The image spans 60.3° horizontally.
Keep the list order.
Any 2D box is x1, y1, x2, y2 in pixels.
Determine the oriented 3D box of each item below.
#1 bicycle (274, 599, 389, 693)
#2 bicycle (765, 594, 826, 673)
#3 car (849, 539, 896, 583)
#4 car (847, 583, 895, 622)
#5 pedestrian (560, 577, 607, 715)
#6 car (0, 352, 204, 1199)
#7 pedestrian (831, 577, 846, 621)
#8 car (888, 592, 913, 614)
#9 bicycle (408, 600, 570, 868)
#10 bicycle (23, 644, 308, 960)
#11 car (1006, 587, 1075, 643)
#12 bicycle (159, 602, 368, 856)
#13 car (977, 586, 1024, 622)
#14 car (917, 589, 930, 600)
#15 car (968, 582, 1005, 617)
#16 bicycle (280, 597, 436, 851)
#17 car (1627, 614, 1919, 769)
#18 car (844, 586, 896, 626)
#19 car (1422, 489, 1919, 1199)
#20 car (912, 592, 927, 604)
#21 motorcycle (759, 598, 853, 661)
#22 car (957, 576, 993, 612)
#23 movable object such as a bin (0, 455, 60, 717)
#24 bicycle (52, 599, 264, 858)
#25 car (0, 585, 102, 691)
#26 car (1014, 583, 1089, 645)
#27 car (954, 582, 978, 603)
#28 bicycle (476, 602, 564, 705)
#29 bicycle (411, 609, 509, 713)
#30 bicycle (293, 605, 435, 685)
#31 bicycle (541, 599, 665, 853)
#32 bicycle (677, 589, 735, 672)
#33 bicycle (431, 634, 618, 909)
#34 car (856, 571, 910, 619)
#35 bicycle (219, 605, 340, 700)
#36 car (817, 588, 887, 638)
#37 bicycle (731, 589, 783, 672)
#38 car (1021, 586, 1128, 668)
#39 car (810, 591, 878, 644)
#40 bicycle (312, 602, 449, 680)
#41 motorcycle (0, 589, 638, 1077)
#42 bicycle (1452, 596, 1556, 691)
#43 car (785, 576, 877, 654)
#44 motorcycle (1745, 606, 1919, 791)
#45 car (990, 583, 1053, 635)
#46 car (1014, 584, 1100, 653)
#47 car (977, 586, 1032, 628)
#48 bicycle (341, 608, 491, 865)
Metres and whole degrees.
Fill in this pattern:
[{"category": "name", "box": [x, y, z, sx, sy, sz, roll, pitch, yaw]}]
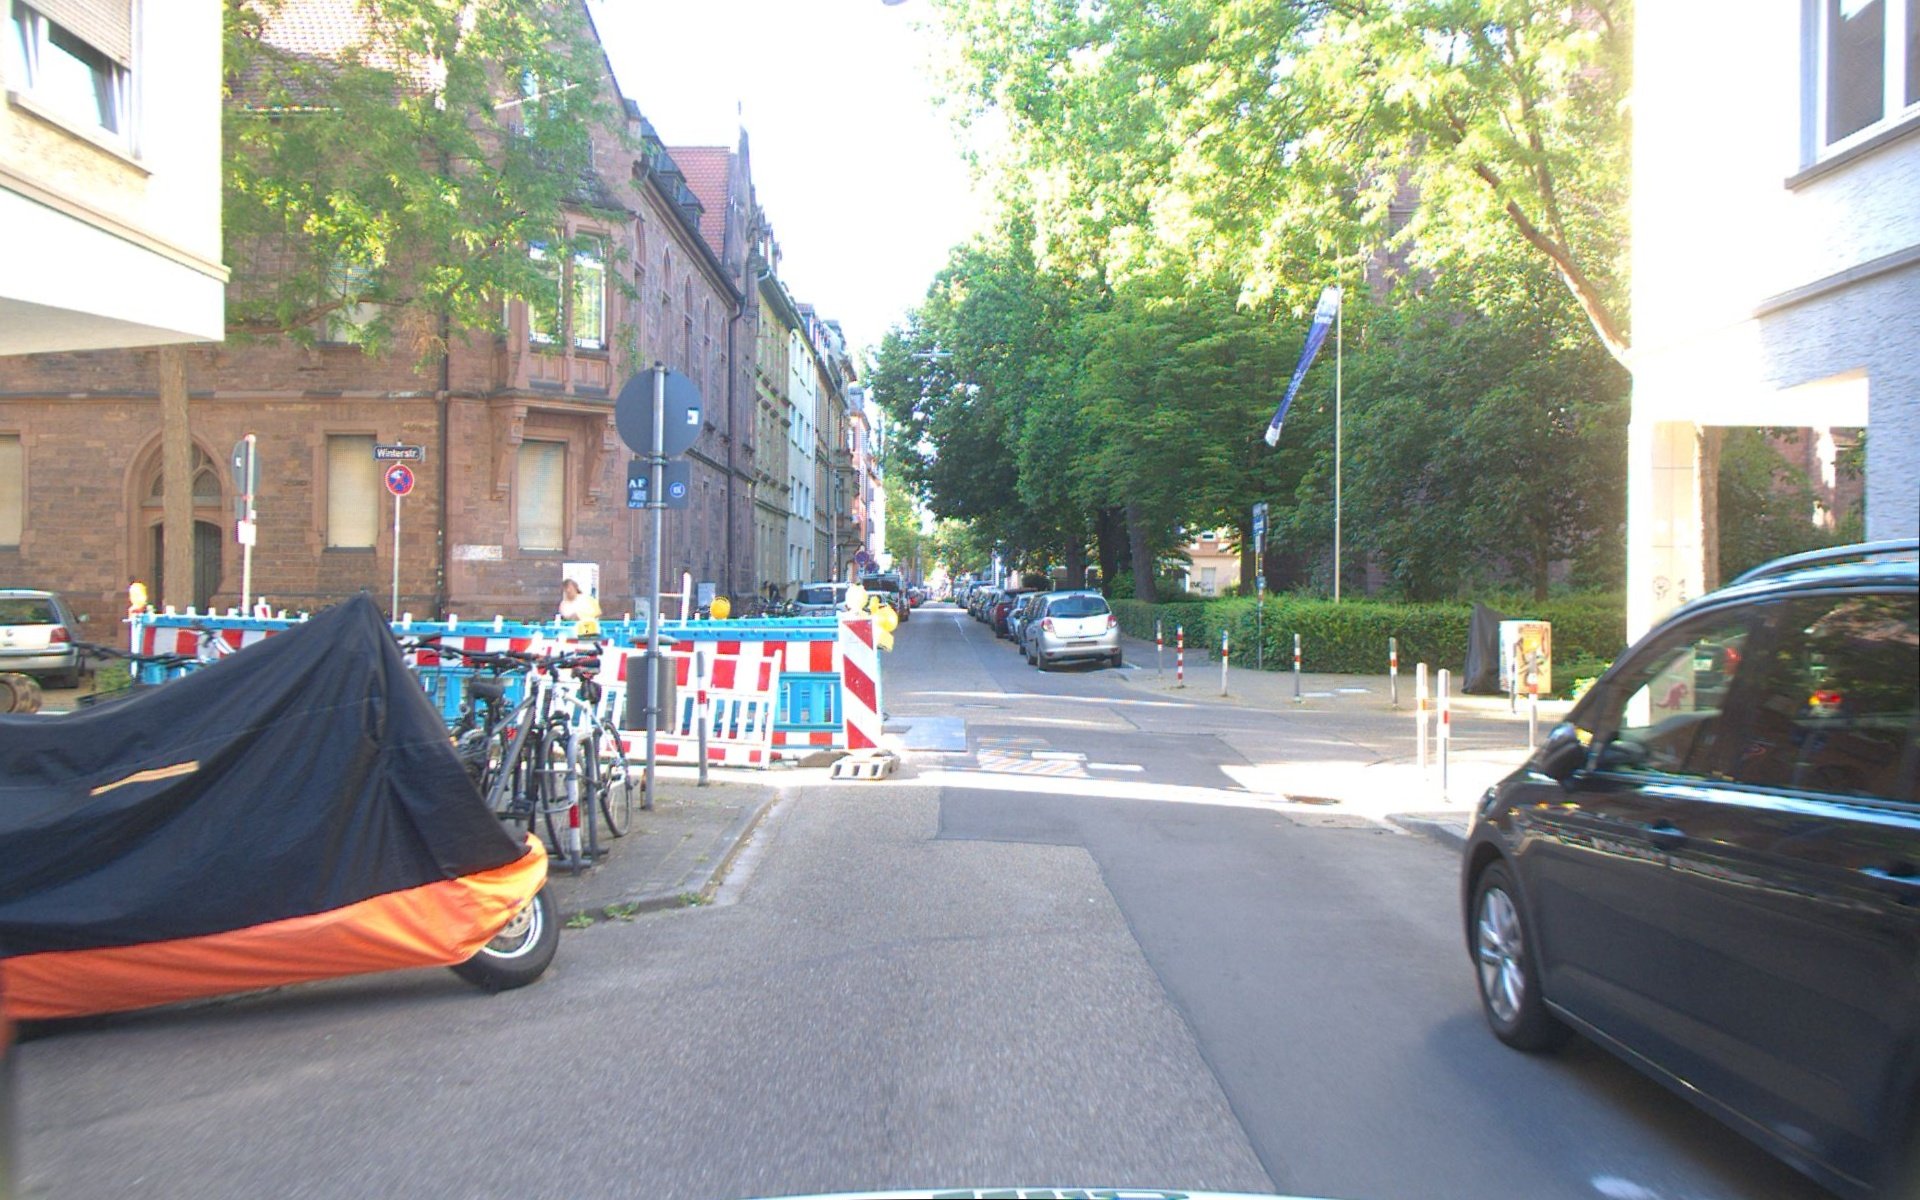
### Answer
[{"category": "bicycle", "box": [-8.952, 0.625, 23.660, 0.669, 1.200, 2.446, 0, 2, 1]}, {"category": "bicycle", "box": [-3.003, 0.571, 30.000, 0.671, 1.368, 2.492, 0, 0, -16]}, {"category": "car", "box": [-3.453, -1.576, 65.677, 1.756, 1.601, 4.000, 0, 3, -2]}, {"category": "car", "box": [-3.740, 0.101, 69.988, 1.953, 1.601, 3.999, 0, 0, -2]}, {"category": "pedestrian", "box": [-4.885, 0.592, 21.487, 0.514, 1.771, 0.557, 0, 0, -5]}, {"category": "car", "box": [-2.311, 0.520, 1.167, 1.782, 1.797, 4.332, 0, 0, -4]}, {"category": "pedestrian", "box": [-5.680, -0.034, 77.457, 0.672, 2.049, 0.690, 0, 0, -8]}, {"category": "car", "box": [-4.624, 0.230, 127.958, 1.911, 1.739, 3.998, 0, 0, -2]}, {"category": "bicycle", "box": [-2.540, 0.661, 9.084, 0.391, 1.248, 1.873, 0, 2, -2]}, {"category": "bicycle", "box": [-3.486, 0.816, 7.427, 0.536, 1.175, 1.869, 0, 0, -5]}, {"category": "car", "box": [2.392, 0.423, 50.161, 1.804, 1.624, 3.999, 0, 0, -1]}, {"category": "bicycle", "box": [-3.991, 0.672, 9.631, 0.391, 1.248, 2.030, 0, 2, -1]}, {"category": "car", "box": [1.823, 0.171, 75.157, 1.953, 1.601, 3.999, 0, 0, -2]}, {"category": "car", "box": [-5.438, -0.817, 247.115, 1.953, 1.676, 3.999, 0, 0, -1]}, {"category": "car", "box": [1.354, -0.047, 86.124, 1.792, 1.733, 3.999, 0, 0, -2]}, {"category": "bicycle", "box": [-3.366, 0.636, 9.357, 0.288, 1.248, 1.699, 0, 2, -1]}, {"category": "car", "box": [9.101, 0.859, 16.379, 4.260, 1.412, 1.849, 0, 0, -2]}, {"category": "car", "box": [-3.259, 0.203, 60.468, 1.735, 1.377, 3.999, 0, 0, -1]}, {"category": "car", "box": [2.776, 0.617, 4.282, 1.862, 1.668, 4.390, 0, 0, -1]}, {"category": "car", "box": [-5.509, -0.283, 225.164, 1.953, 1.676, 3.999, 0, 0, -1]}, {"category": "motorcycle", "box": [-3.124, 0.583, 33.351, 0.661, 1.228, 2.275, 0, 0, -42]}, {"category": "car", "box": [0.960, -0.377, 105.280, 2.117, 2.295, 4.524, 0, 0, -2]}, {"category": "movable object such as a bin", "box": [-11.053, -0.136, 16.744, 2.694, 2.646, 2.071, 0, 0, 4]}, {"category": "bicycle", "box": [-4.434, 0.650, 9.271, 0.391, 1.248, 1.815, 0, 2, -4]}, {"category": "car", "box": [-14.369, 0.527, 25.476, 1.831, 1.509, 4.238, 0, 0, -25]}, {"category": "car", "box": [2.445, 0.357, 44.970, 1.706, 1.601, 3.999, 0, 0, -2]}, {"category": "car", "box": [0.516, -0.671, 143.043, 1.953, 1.758, 3.999, 0, 1, -1]}, {"category": "bicycle", "box": [-6.315, 0.733, 23.853, 0.669, 1.344, 2.143, 0, 2, 0]}, {"category": "bicycle", "box": [-7.265, 0.854, 24.150, 0.669, 1.344, 2.445, 0, 2, 0]}, {"category": "bicycle", "box": [-9.185, 0.685, 25.533, 1.922, 1.200, 0.685, 0, 2, 0]}, {"category": "bicycle", "box": [-1.962, 0.647, 9.223, 0.391, 1.248, 1.505, 0, 2, -2]}, {"category": "bicycle", "box": [-4.661, 0.530, 30.499, 0.669, 1.448, 2.797, 0, 0, -1]}, {"category": "bicycle", "box": [-2.116, 0.782, 8.211, 0.416, 1.160, 1.666, 3, 0, 1]}, {"category": "car", "box": [-3.567, -0.230, 77.775, 2.262, 2.151, 5.170, 0, 0, 0]}, {"category": "bicycle", "box": [-9.688, 0.711, 23.656, 0.669, 1.200, 2.446, 0, 2, 1]}, {"category": "car", "box": [-3.265, 0.386, 50.781, 1.843, 1.435, 4.000, -1, 0, 0]}, {"category": "bicycle", "box": [-3.698, 0.517, 30.036, 0.563, 1.448, 2.491, 0, 0, -16]}, {"category": "car", "box": [2.273, 0.505, 33.793, 1.689, 1.549, 3.998, 0, 1, -3]}, {"category": "car", "box": [-3.210, 0.449, 46.267, 1.690, 1.417, 3.999, 0, 0, -1]}, {"category": "bicycle", "box": [-9.181, 0.642, 26.256, 1.922, 1.200, 0.685, 0, 2, 0]}, {"category": "motorcycle", "box": [-2.483, 0.720, 5.893, 2.483, 1.508, 0.895, 0, 0, -28]}, {"category": "bicycle", "box": [8.519, 0.650, 25.855, 0.763, 1.395, 2.112, 0, 1, 42]}, {"category": "car", "box": [-3.041, 0.350, 39.747, 1.843, 1.737, 4.000, -1, 0, 0]}, {"category": "motorcycle", "box": [6.595, 0.695, 12.184, 2.140, 1.249, 0.732, 2, -3, -44]}, {"category": "car", "box": [2.016, 0.299, 54.986, 1.856, 1.653, 3.999, 0, 0, -2]}, {"category": "car", "box": [2.258, 0.420, 39.325, 1.688, 1.549, 3.999, 0, 0, -2]}, {"category": "car", "box": [1.721, 0.261, 64.855, 1.953, 1.601, 3.999, 0, 0, -2]}, {"category": "bicycle", "box": [-2.992, 0.701, 9.209, 0.356, 1.248, 1.553, 0, 2, -2]}]
